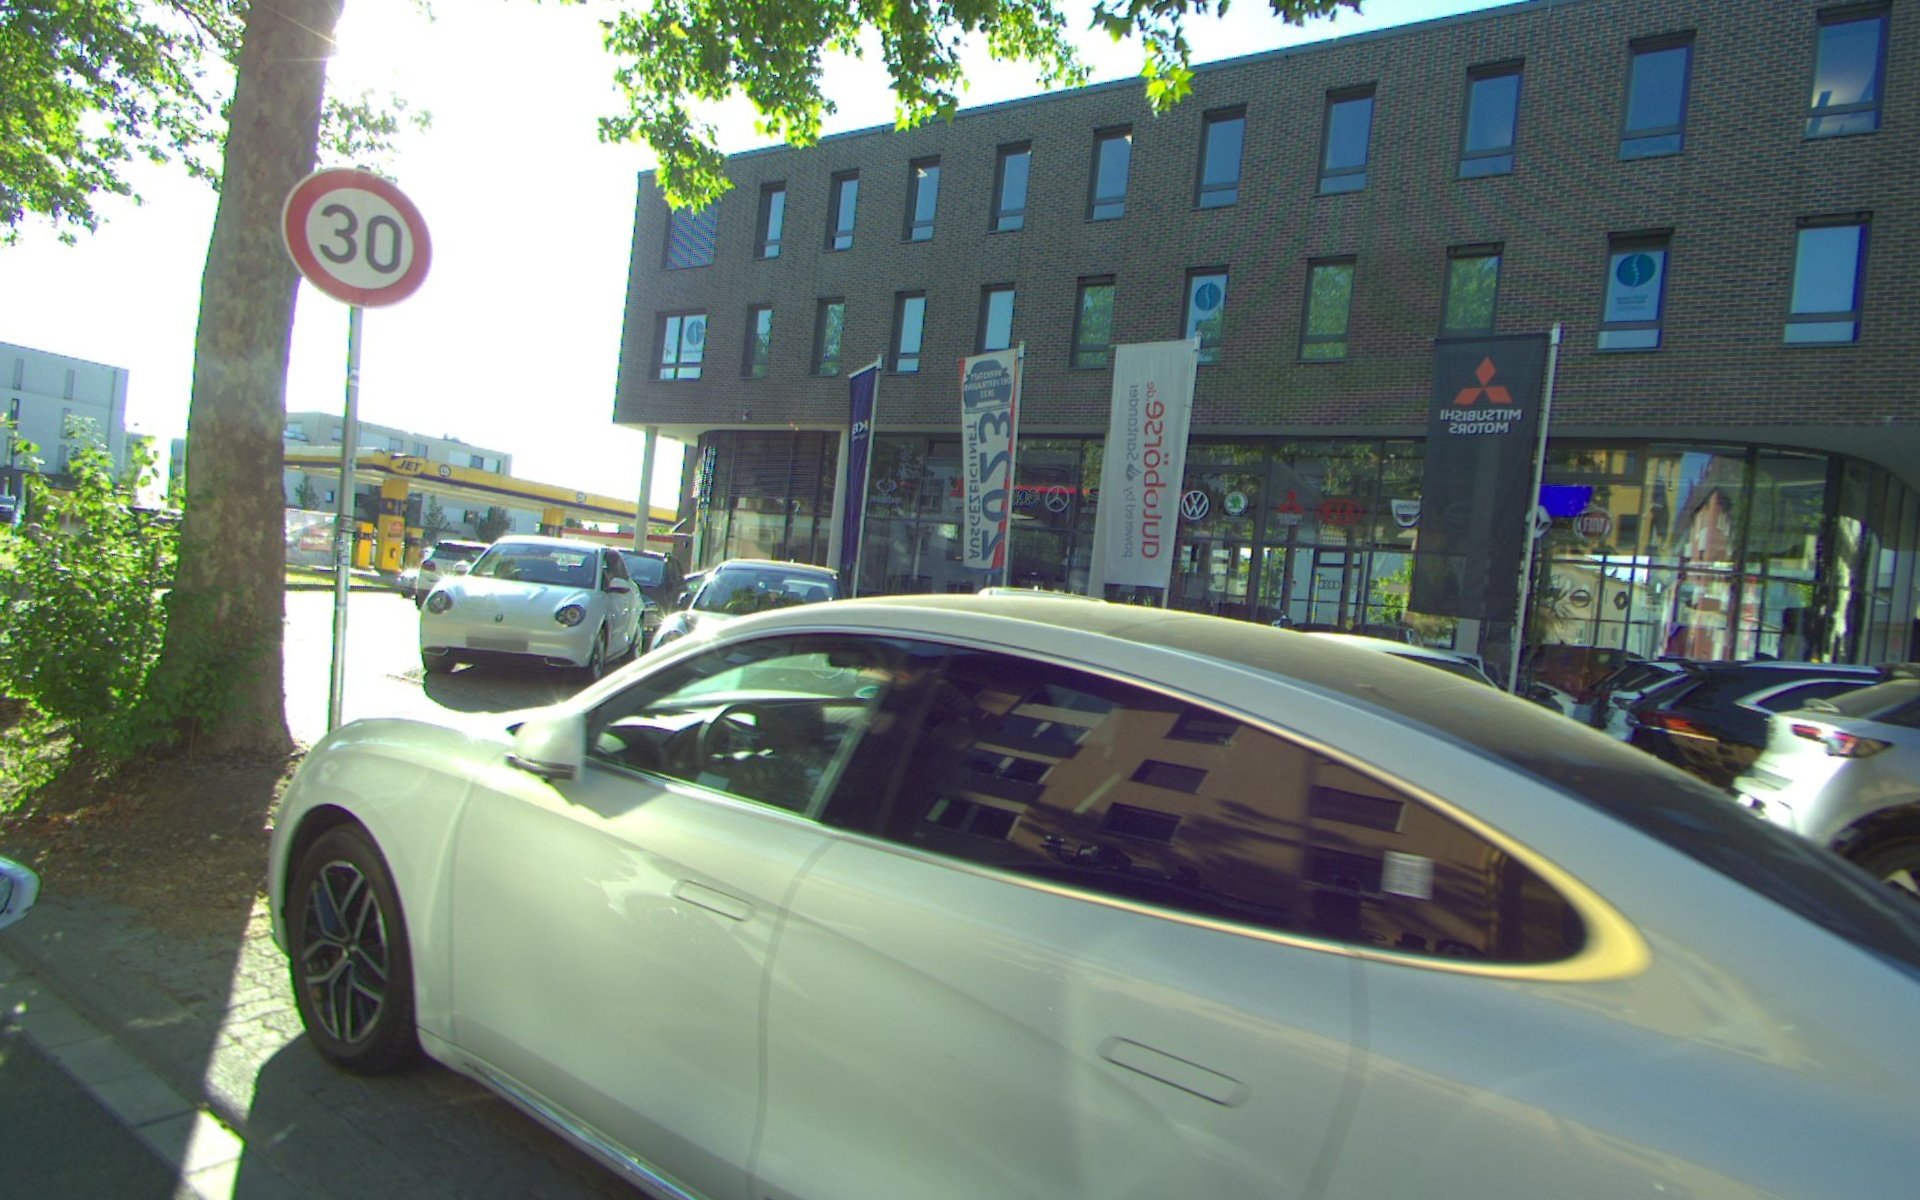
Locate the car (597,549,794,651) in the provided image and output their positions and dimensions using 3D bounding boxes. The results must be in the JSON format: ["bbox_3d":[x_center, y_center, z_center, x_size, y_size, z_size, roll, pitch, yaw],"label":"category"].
[{"bbox_3d":[-5.812,0.003,22.521,3.931,1.774,1.863,6,0,-9],"label":"car"}]

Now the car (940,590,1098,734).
[{"bbox_3d":[0.662,0.722,13.859,1.613,1.530,3.816,6,1,-3],"label":"car"}]

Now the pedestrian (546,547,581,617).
[{"bbox_3d":[-10.065,-0.450,25.539,0.547,1.699,0.648,6,1,-9],"label":"pedestrian"}]

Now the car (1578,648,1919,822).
[{"bbox_3d":[11.290,1.828,14.282,4.112,1.755,1.987,6,0,33],"label":"car"}]

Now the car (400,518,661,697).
[{"bbox_3d":[-4.844,0.049,11.948,1.716,1.598,3.813,6,1,-7],"label":"car"}]

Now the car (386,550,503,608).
[{"bbox_3d":[-15.092,-0.556,29.659,1.659,1.339,3.565,6,-2,-4],"label":"car"}]

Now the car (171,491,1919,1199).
[{"bbox_3d":[-0.148,0.635,2.770,4.509,1.559,1.810,6,2,33],"label":"car"}]

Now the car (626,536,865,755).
[{"bbox_3d":[-1.909,0.348,10.026,1.710,1.598,3.815,6,1,-5],"label":"car"}]

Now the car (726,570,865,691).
[{"bbox_3d":[-2.483,0.408,16.017,1.613,1.530,3.816,6,1,-3],"label":"car"}]

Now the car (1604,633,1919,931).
[{"bbox_3d":[7.194,1.378,7.013,4.294,1.753,1.828,6,0,30],"label":"car"}]

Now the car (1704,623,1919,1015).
[{"bbox_3d":[6.021,1.202,4.454,4.089,1.690,1.754,6,0,32],"label":"car"}]

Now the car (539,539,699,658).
[{"bbox_3d":[-5.742,-0.023,17.448,1.742,1.621,4.138,6,-1,-8],"label":"car"}]

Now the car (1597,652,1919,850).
[{"bbox_3d":[10.029,1.745,11.753,4.110,1.755,1.878,6,0,30],"label":"car"}]

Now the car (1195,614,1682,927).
[{"bbox_3d":[3.135,0.990,7.559,1.632,1.564,3.818,6,0,-1],"label":"car"}]

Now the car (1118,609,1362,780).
[{"bbox_3d":[3.217,1.009,12.377,1.613,1.530,3.816,6,1,-3],"label":"car"}]

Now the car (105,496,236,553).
[{"bbox_3d":[-30.906,-2.901,39.523,1.806,1.733,3.838,6,0,5],"label":"car"}]

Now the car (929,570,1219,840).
[{"bbox_3d":[0.711,0.687,8.634,1.710,1.630,3.816,6,1,-3],"label":"car"}]

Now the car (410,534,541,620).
[{"bbox_3d":[-11.875,-0.569,24.943,2.128,1.740,3.986,6,0,-16],"label":"car"}]

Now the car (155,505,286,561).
[{"bbox_3d":[-27.127,-2.423,37.046,1.666,1.608,3.838,6,0,5],"label":"car"}]

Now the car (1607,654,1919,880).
[{"bbox_3d":[8.740,1.627,9.553,4.110,1.705,1.729,6,0,30],"label":"car"}]
